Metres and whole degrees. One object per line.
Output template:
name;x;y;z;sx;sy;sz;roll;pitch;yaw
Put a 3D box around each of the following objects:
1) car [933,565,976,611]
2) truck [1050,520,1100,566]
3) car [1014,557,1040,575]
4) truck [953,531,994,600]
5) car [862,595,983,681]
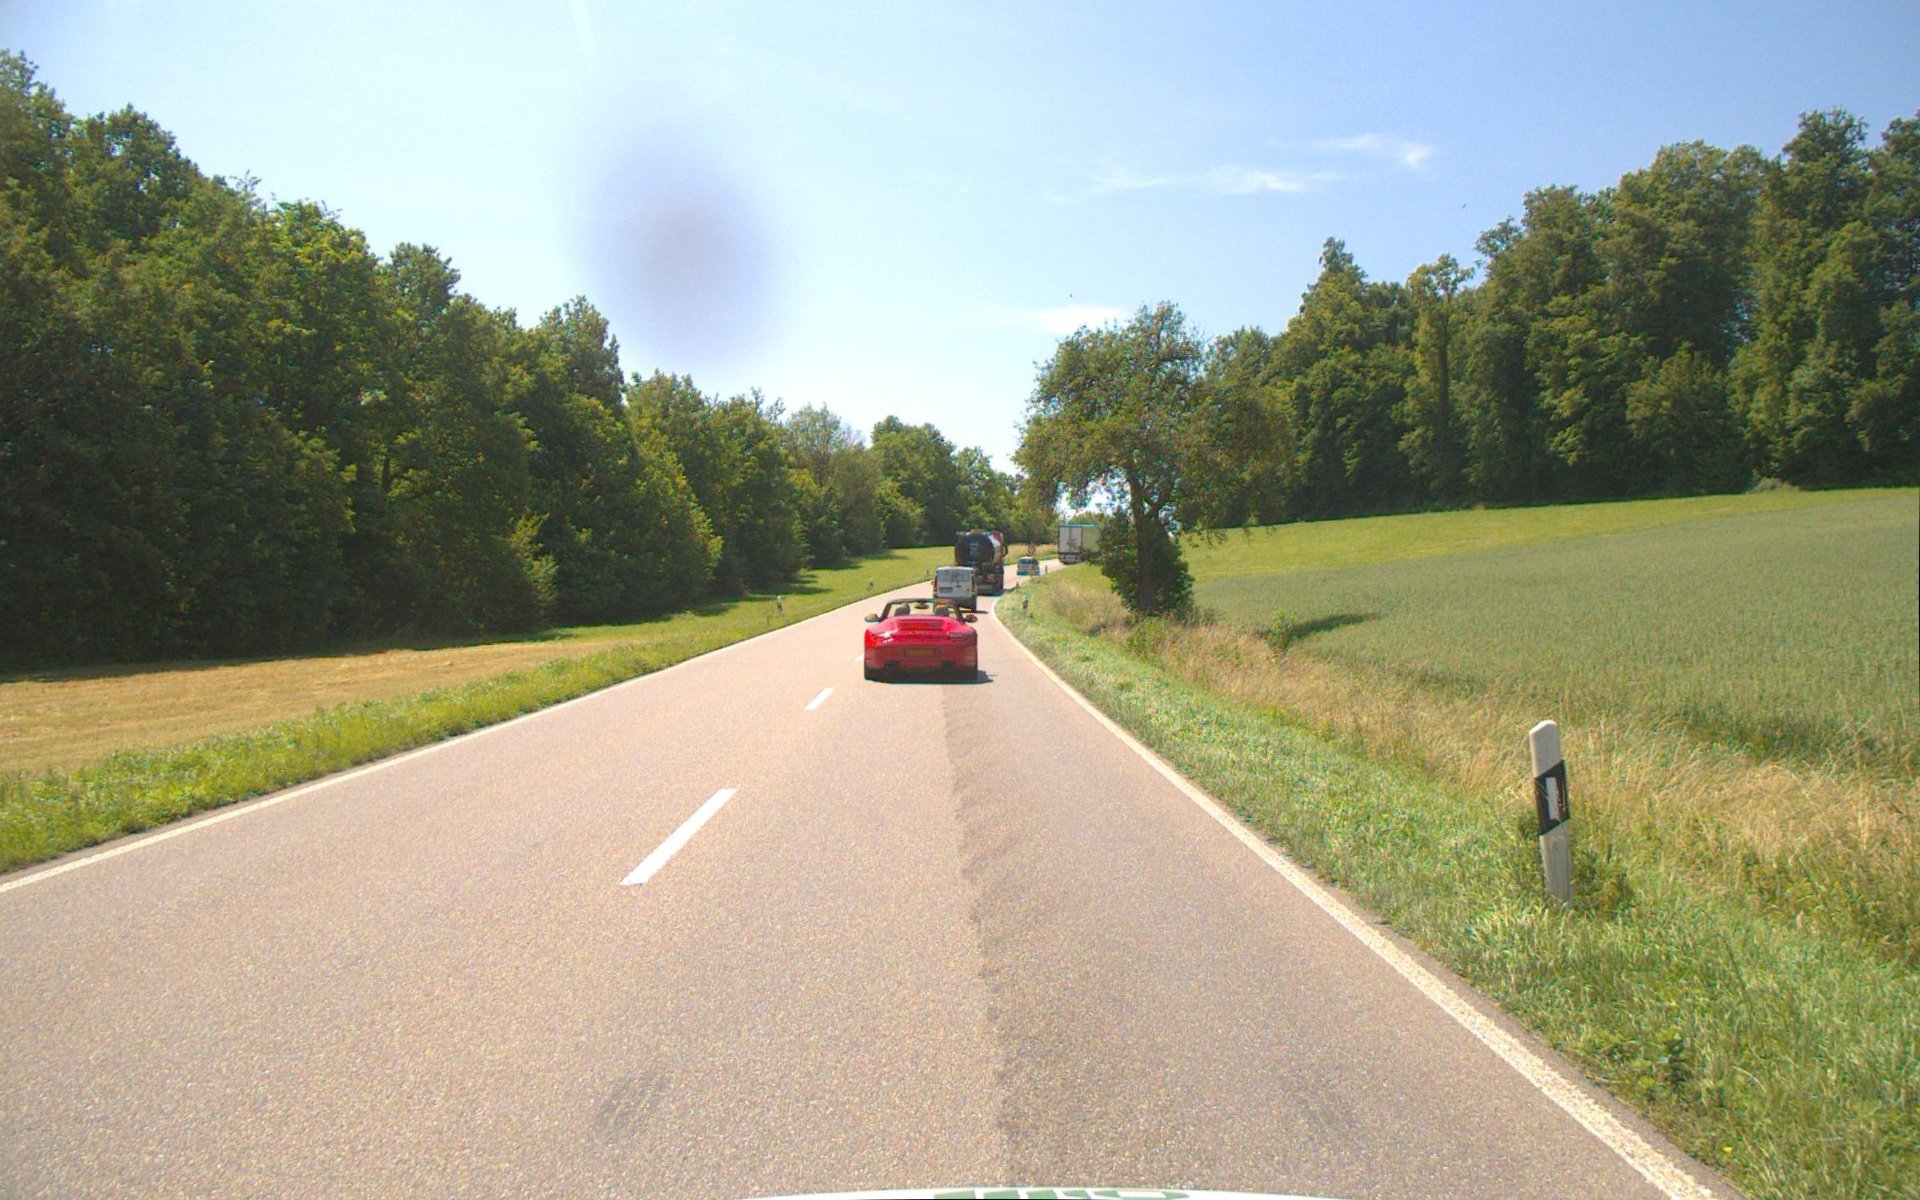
car;-0.194;-0.549;71.627;1.643;1.934;4.011;0;1;3
truck;12.420;-6.175;177.490;3.646;4.741;12.044;0;3;12
car;5.906;-2.978;144.489;1.792;1.539;4.195;0;3;9
truck;0.840;-2.177;107.065;2.355;4.120;12.550;2;1;0
car;-0.613;0.578;27.423;1.844;1.277;4.008;0;0;-1
